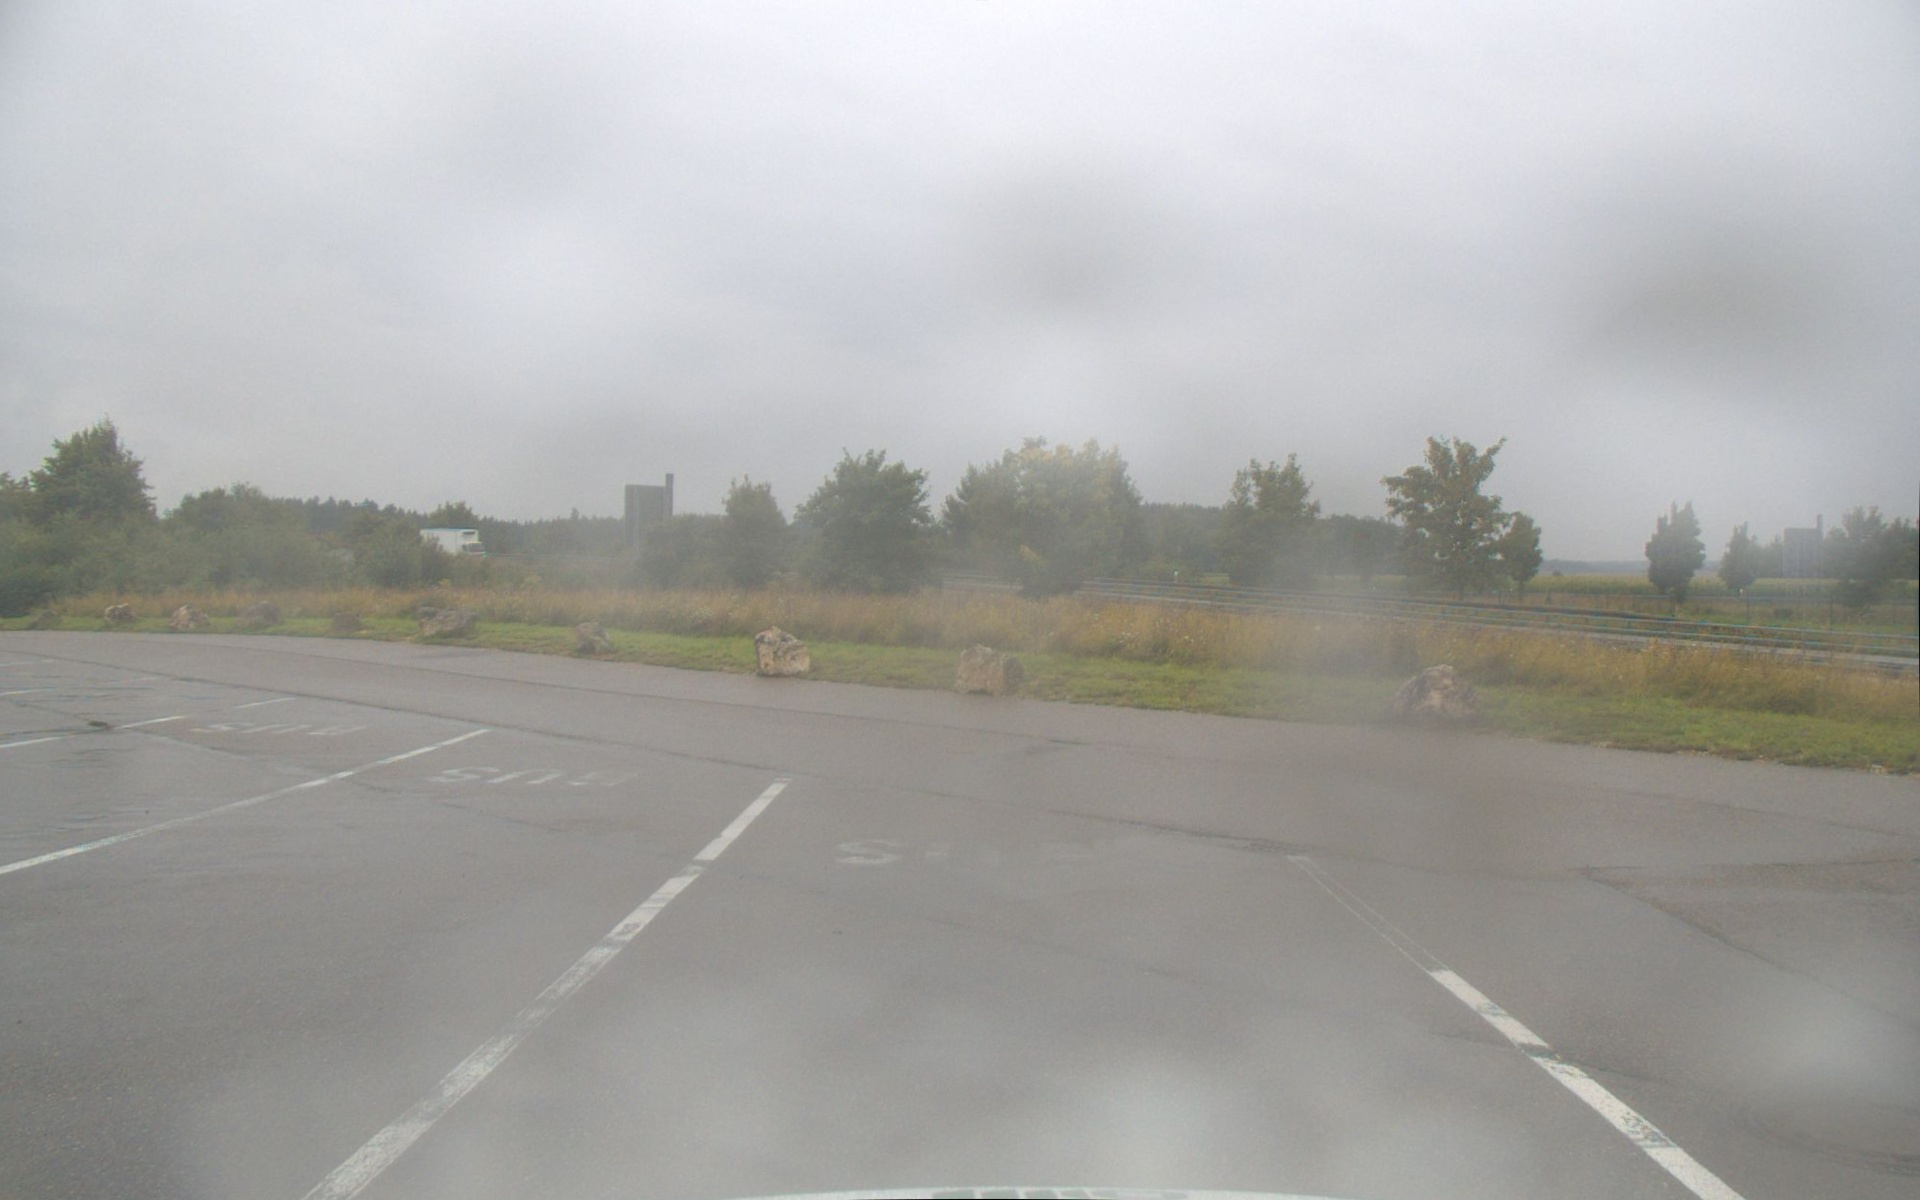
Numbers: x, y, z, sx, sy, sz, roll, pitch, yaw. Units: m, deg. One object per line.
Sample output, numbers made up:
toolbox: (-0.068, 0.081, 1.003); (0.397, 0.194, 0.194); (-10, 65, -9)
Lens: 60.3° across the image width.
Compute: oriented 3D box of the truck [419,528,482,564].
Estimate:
truck: (-50.513, -5.349, 163.841); (2.727, 3.450, 7.937); (1, 1, -44)
